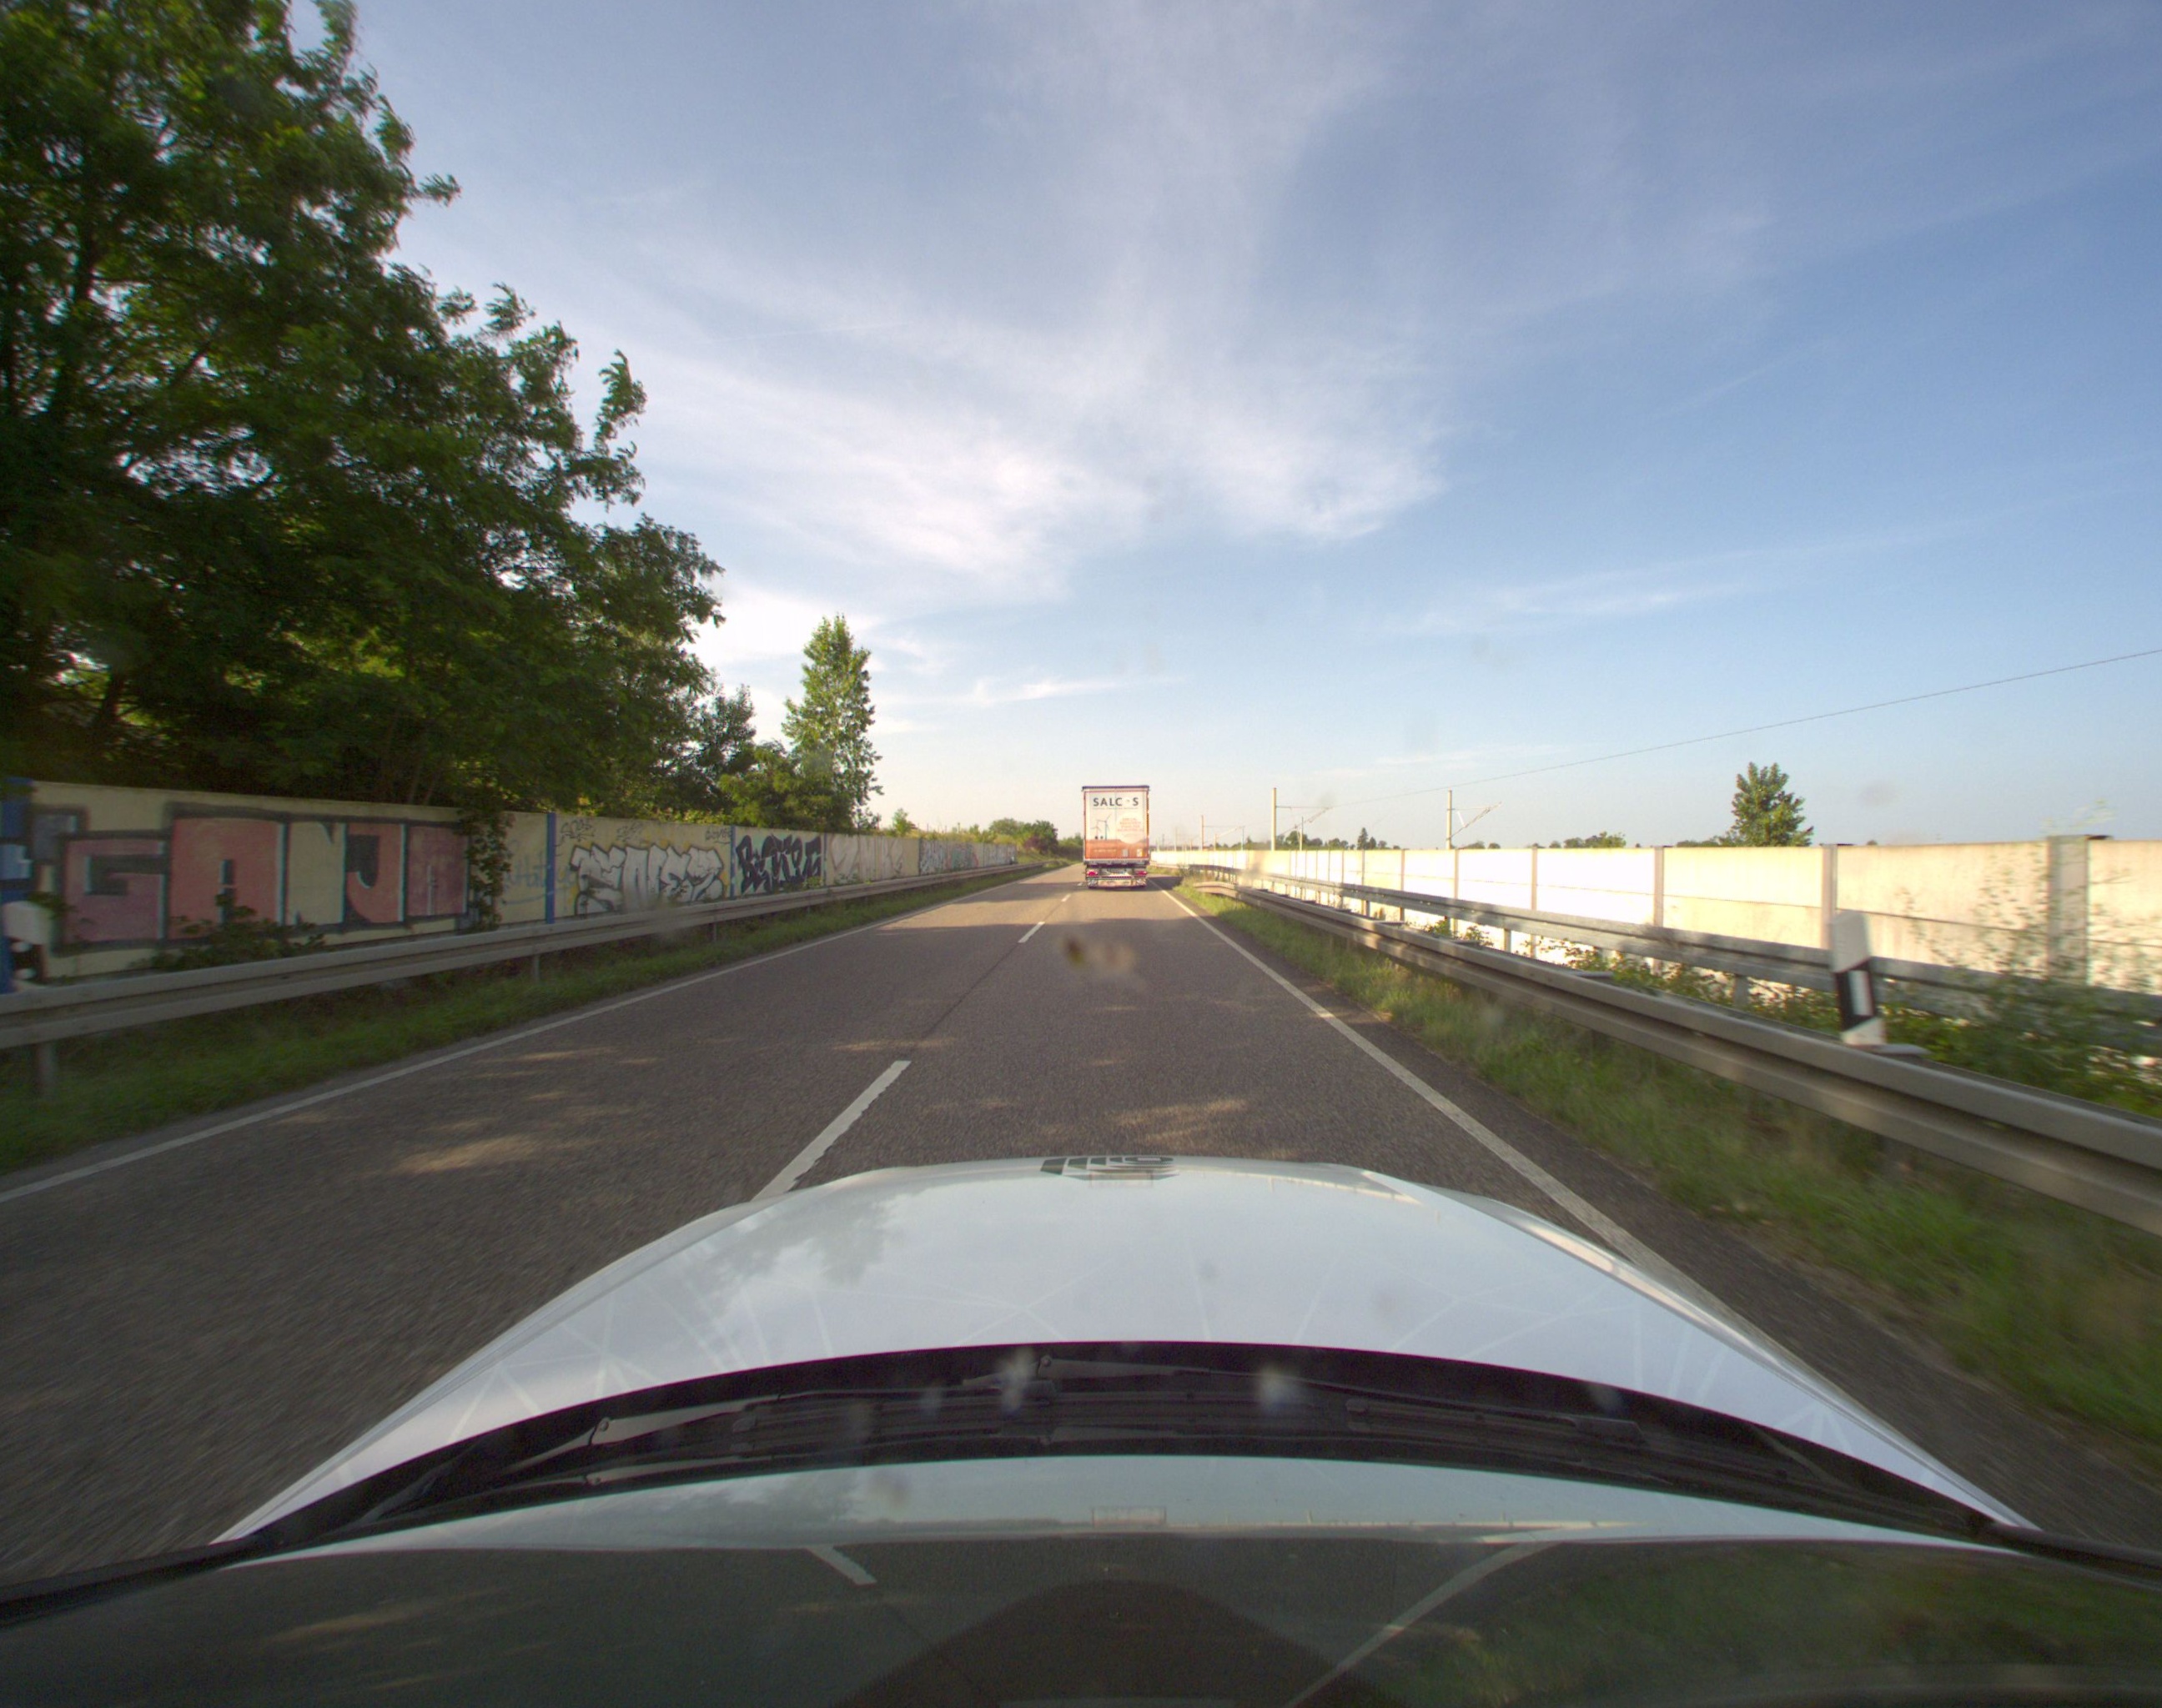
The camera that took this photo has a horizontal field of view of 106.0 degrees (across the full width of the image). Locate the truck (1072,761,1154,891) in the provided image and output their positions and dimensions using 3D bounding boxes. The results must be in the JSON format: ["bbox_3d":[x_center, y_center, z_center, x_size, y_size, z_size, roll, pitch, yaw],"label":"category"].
[{"bbox_3d":[1.362,-1.122,37.079,3.022,4.920,11.688,-1,1,1],"label":"truck"}]
